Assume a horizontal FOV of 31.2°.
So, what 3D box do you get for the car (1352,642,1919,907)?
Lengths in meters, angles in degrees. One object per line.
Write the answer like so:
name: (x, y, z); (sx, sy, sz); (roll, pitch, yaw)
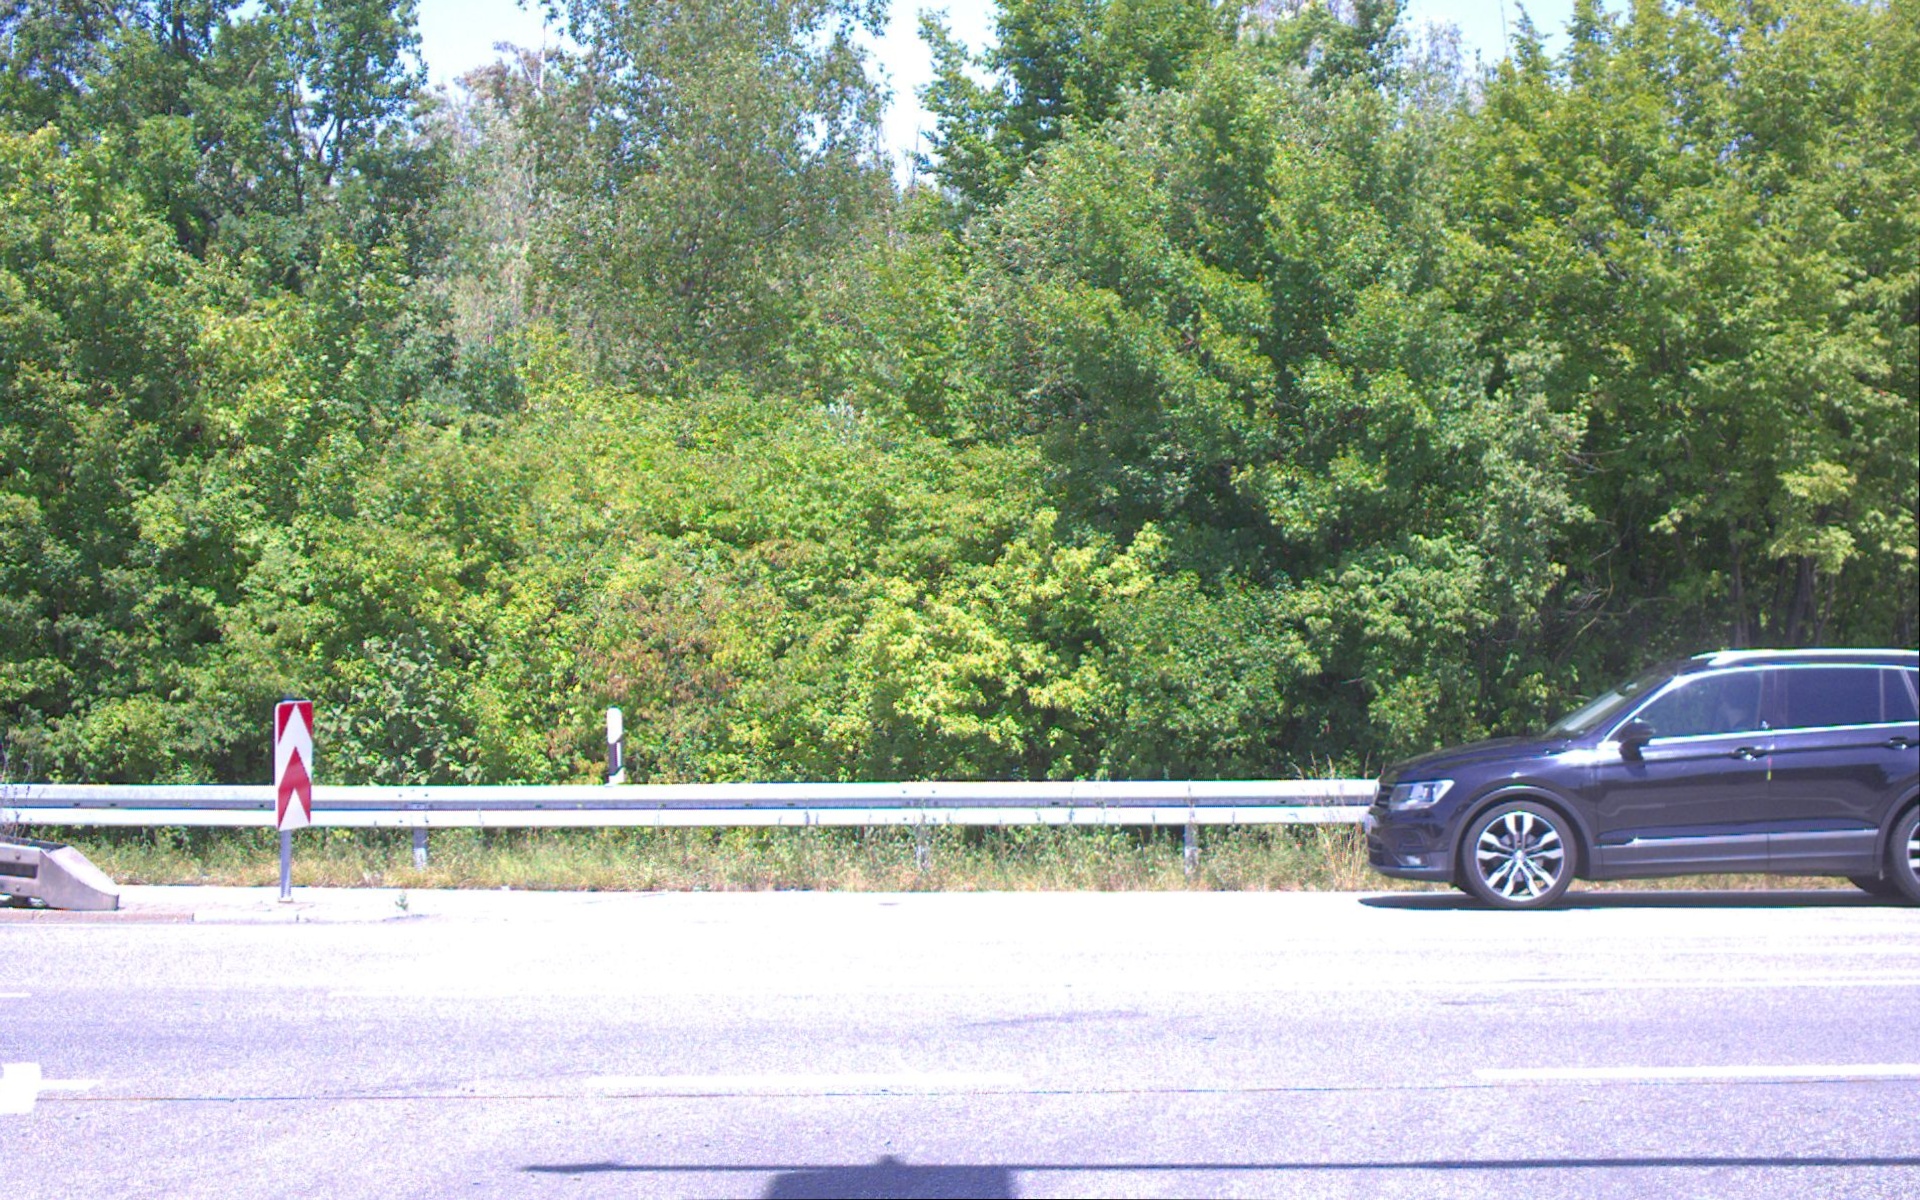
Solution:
car: (4.782, 1.126, 22.343); (4.262, 1.627, 1.904); (0, -3, 1)
